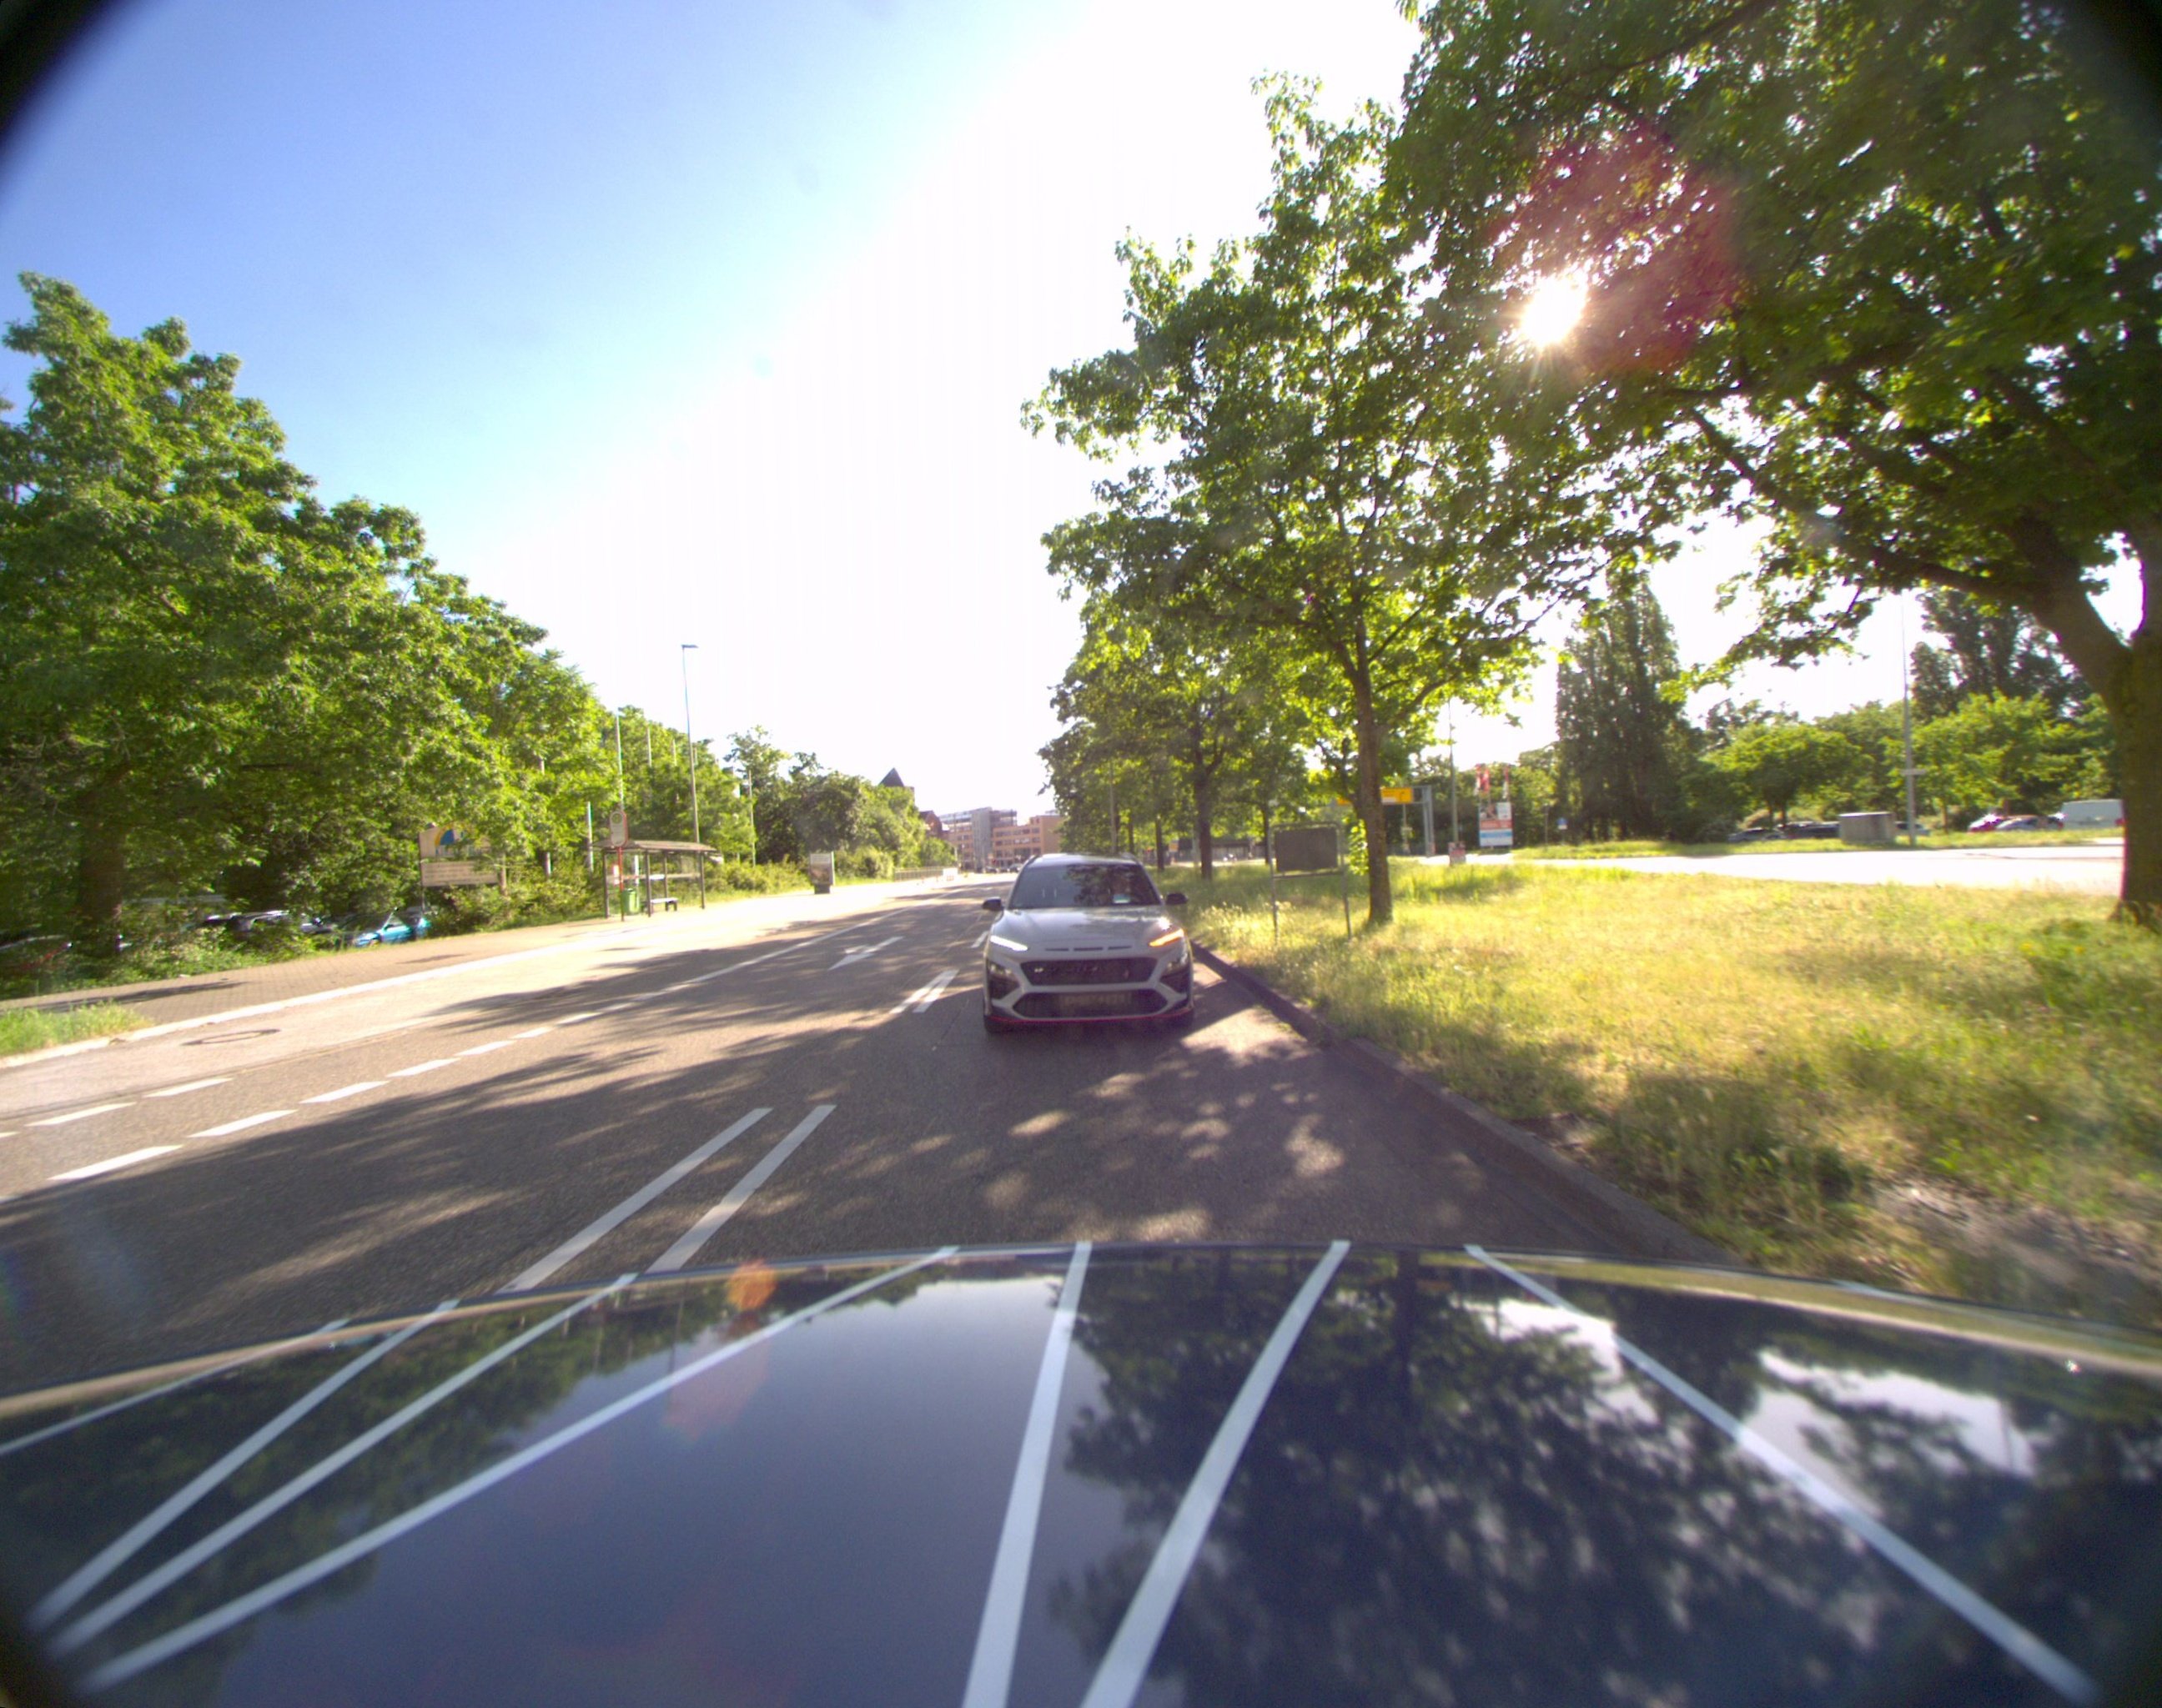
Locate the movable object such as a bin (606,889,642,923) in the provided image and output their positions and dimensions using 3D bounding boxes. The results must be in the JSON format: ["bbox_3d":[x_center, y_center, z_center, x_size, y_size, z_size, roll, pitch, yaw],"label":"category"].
[{"bbox_3d":[-14.567,1.658,24.223,0.728,1.024,0.578,-3,0,-3],"label":"movable object such as a bin"}]

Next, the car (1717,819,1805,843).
[{"bbox_3d":[51.335,-1.728,57.430,2.003,1.456,4.546,-5,1,-32],"label":"car"}]

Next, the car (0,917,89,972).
[{"bbox_3d":[-36.324,3.145,24.976,1.998,1.587,4.000,-4,1,2],"label":"car"}]

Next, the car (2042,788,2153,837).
[{"bbox_3d":[46.367,-1.904,34.650,5.006,2.002,2.235,-3,0,-28],"label":"car"}]

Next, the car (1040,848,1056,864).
[{"bbox_3d":[-4.113,0.212,95.243,1.745,1.538,4.003,-4,-5,-1],"label":"car"}]

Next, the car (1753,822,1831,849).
[{"bbox_3d":[43.262,-1.116,46.353,1.818,1.440,4.005,-3,0,17],"label":"car"}]

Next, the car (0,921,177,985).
[{"bbox_3d":[-34.208,3.310,25.571,1.756,1.739,4.779,-5,-2,0],"label":"car"}]

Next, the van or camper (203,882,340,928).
[{"bbox_3d":[-46.042,2.846,43.444,2.458,2.146,5.324,-3,0,-8],"label":"van or camper"}]

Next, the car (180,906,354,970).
[{"bbox_3d":[-27.828,2.807,26.187,1.609,1.654,3.999,-4,0,-1],"label":"car"}]

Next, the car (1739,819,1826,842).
[{"bbox_3d":[54.541,-1.803,59.179,2.003,1.456,4.546,-5,1,-32],"label":"car"}]

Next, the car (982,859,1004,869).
[{"bbox_3d":[-17.262,1.997,148.925,3.998,1.622,1.999,-3,0,-4],"label":"car"}]

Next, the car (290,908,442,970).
[{"bbox_3d":[-24.487,2.868,26.222,1.766,1.628,3.613,-3,0,-1],"label":"car"}]

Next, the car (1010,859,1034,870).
[{"bbox_3d":[-9.364,1.668,120.804,1.834,1.464,3.990,-3,0,-38],"label":"car"}]

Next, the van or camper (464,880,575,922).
[{"bbox_3d":[-30.492,2.494,41.504,2.458,1.902,5.324,-3,0,-7],"label":"van or camper"}]

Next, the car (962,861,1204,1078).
[{"bbox_3d":[0.016,0.910,7.829,1.780,1.542,3.980,-3,0,0],"label":"car"}]

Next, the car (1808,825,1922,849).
[{"bbox_3d":[42.932,-0.901,41.736,1.822,1.122,3.997,-3,0,-9],"label":"car"}]

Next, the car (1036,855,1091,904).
[{"bbox_3d":[-0.661,0.855,27.237,1.745,1.539,3.999,-3,0,-3],"label":"car"}]

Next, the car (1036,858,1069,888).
[{"bbox_3d":[-1.614,1.014,42.038,1.678,1.499,3.947,-3,0,-3],"label":"car"}]

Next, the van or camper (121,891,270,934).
[{"bbox_3d":[-49.755,3.247,42.923,2.458,1.902,5.324,-3,0,-7],"label":"van or camper"}]
